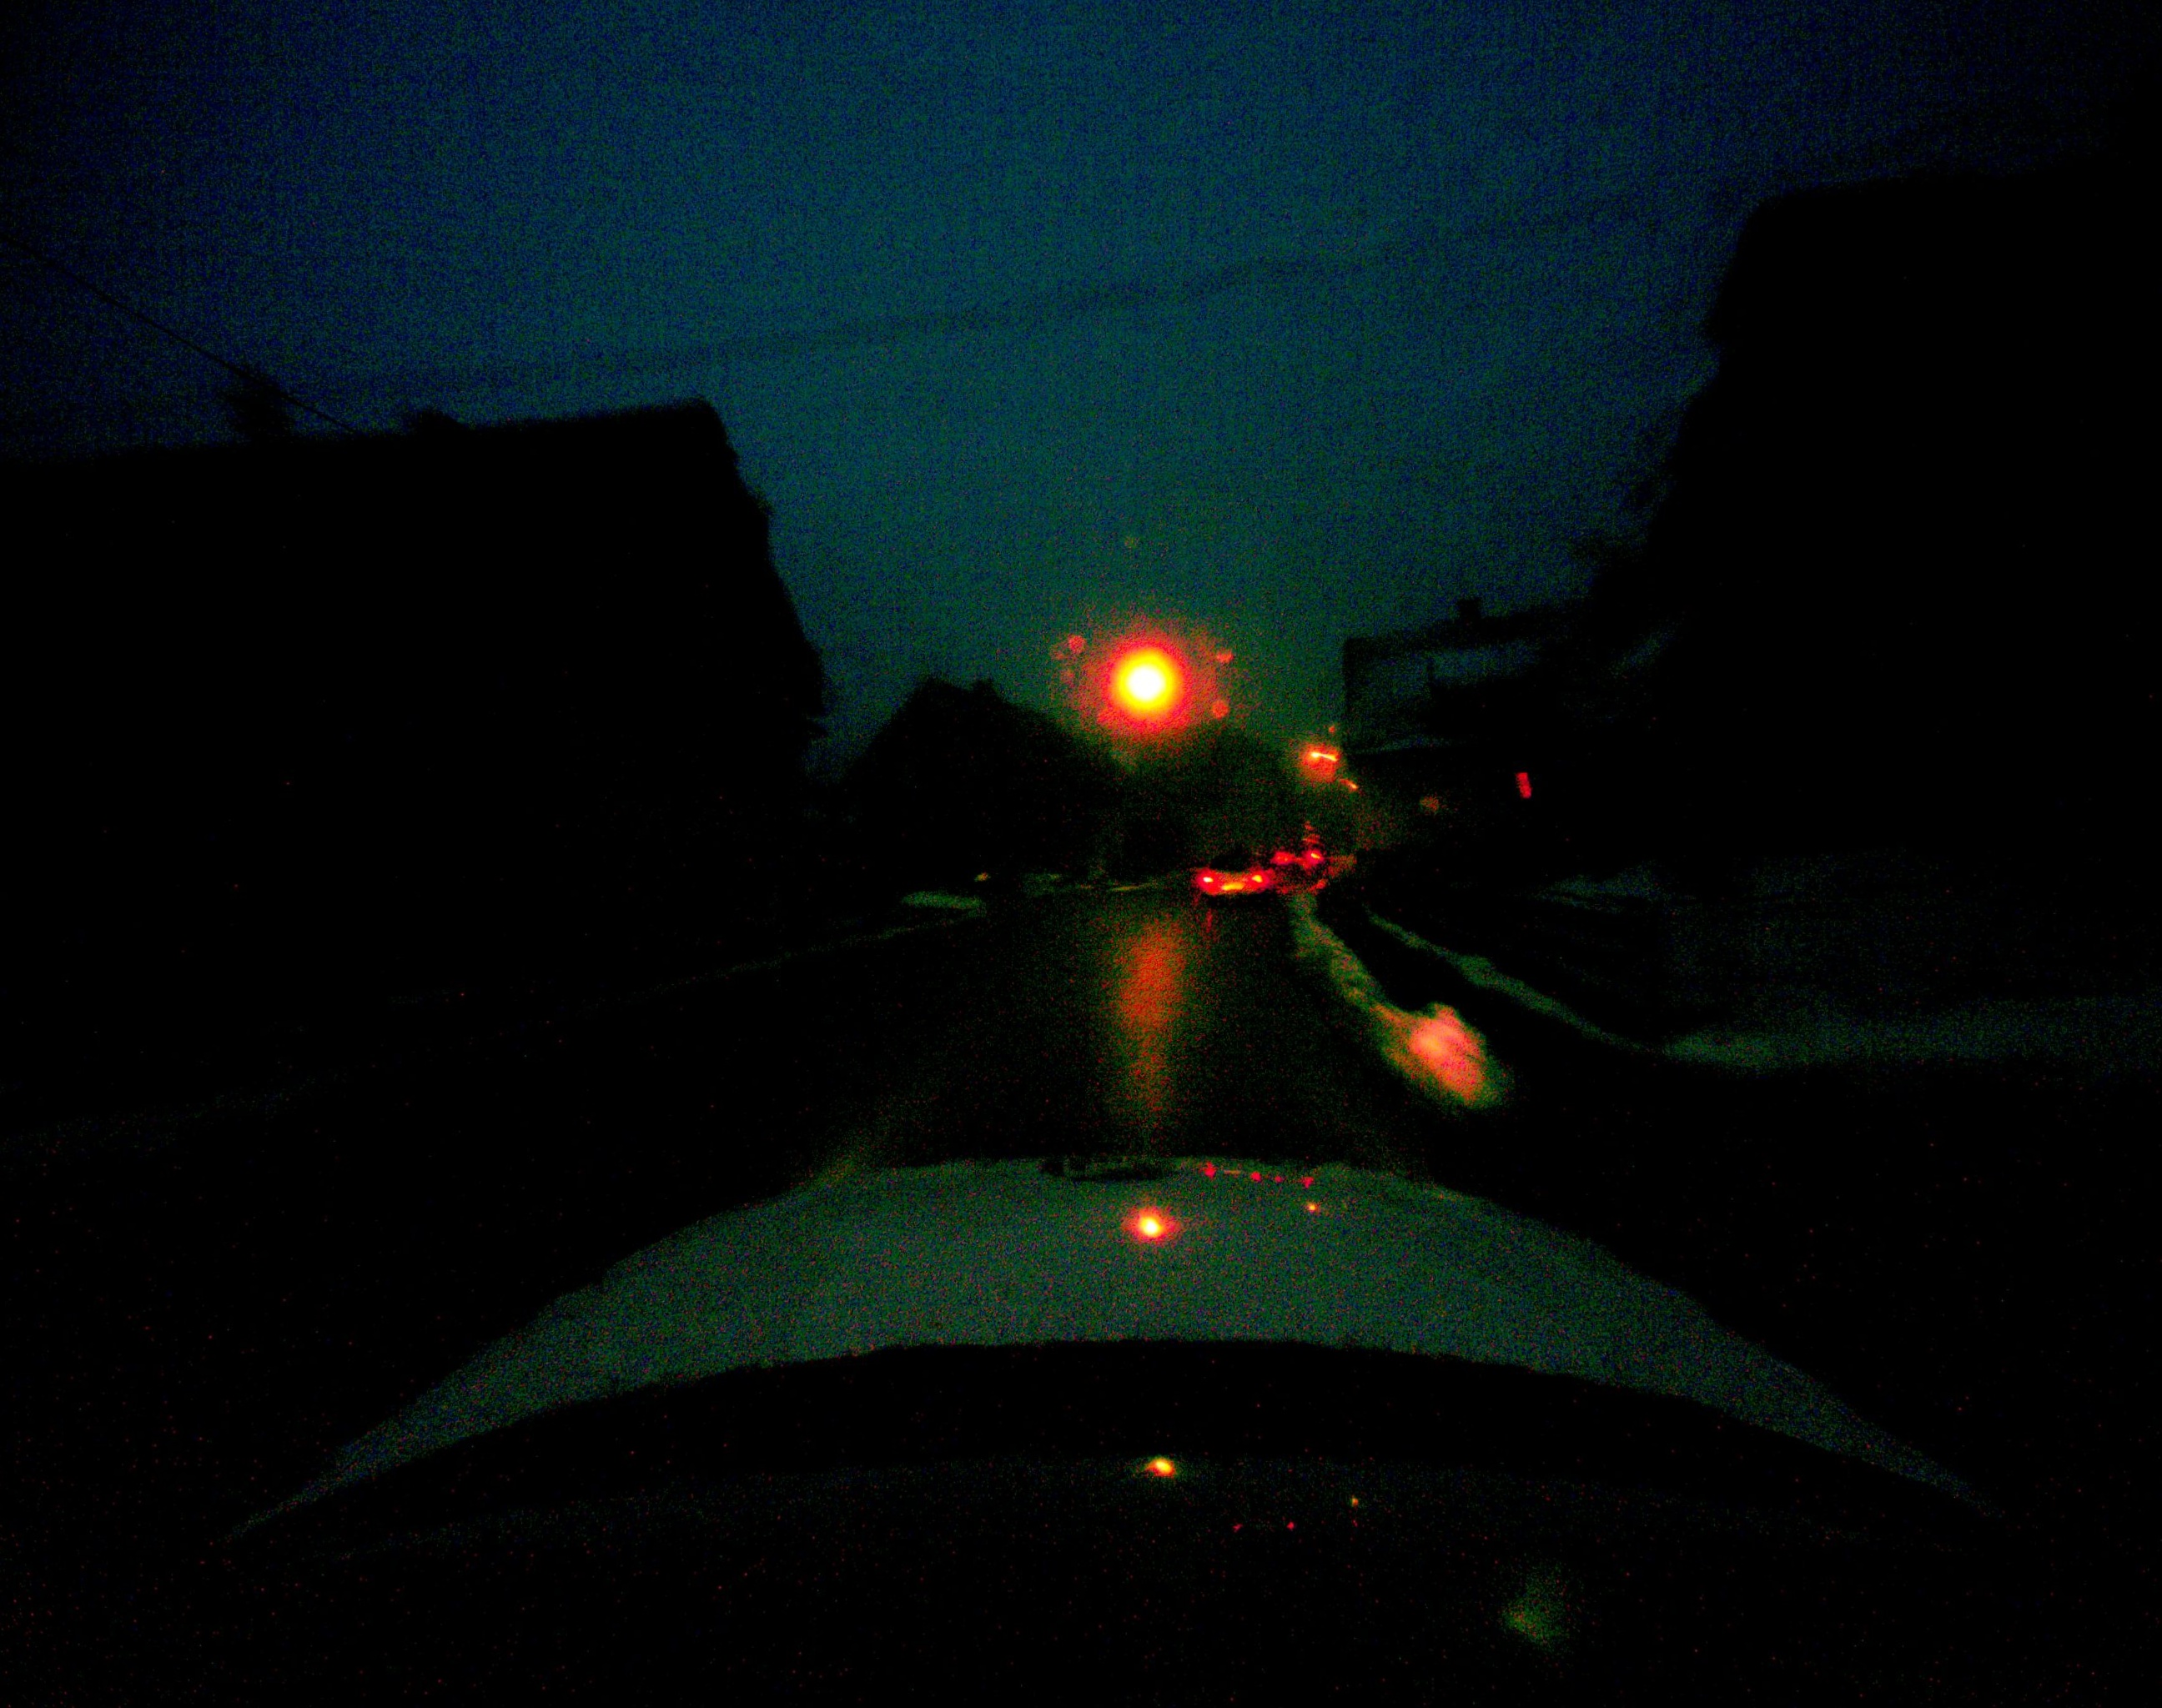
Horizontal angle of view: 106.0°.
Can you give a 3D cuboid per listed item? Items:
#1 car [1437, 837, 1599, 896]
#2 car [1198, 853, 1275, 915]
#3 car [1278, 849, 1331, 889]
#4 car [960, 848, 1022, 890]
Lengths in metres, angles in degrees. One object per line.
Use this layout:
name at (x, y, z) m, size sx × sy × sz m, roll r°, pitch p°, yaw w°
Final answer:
car at (12.535, 0.340, 23.668) m, size 3.953 × 1.596 × 1.921 m, roll 0°, pitch 0°, yaw 21°
car at (4.503, 0.810, 23.176) m, size 1.632 × 1.596 × 3.716 m, roll -2°, pitch -1°, yaw 18°
car at (9.558, 0.609, 34.710) m, size 1.631 × 1.596 × 3.720 m, roll -2°, pitch -1°, yaw 23°
car at (-3.487, 0.579, 32.151) m, size 1.867 × 1.504 × 4.001 m, roll -1°, pitch -1°, yaw 1°
